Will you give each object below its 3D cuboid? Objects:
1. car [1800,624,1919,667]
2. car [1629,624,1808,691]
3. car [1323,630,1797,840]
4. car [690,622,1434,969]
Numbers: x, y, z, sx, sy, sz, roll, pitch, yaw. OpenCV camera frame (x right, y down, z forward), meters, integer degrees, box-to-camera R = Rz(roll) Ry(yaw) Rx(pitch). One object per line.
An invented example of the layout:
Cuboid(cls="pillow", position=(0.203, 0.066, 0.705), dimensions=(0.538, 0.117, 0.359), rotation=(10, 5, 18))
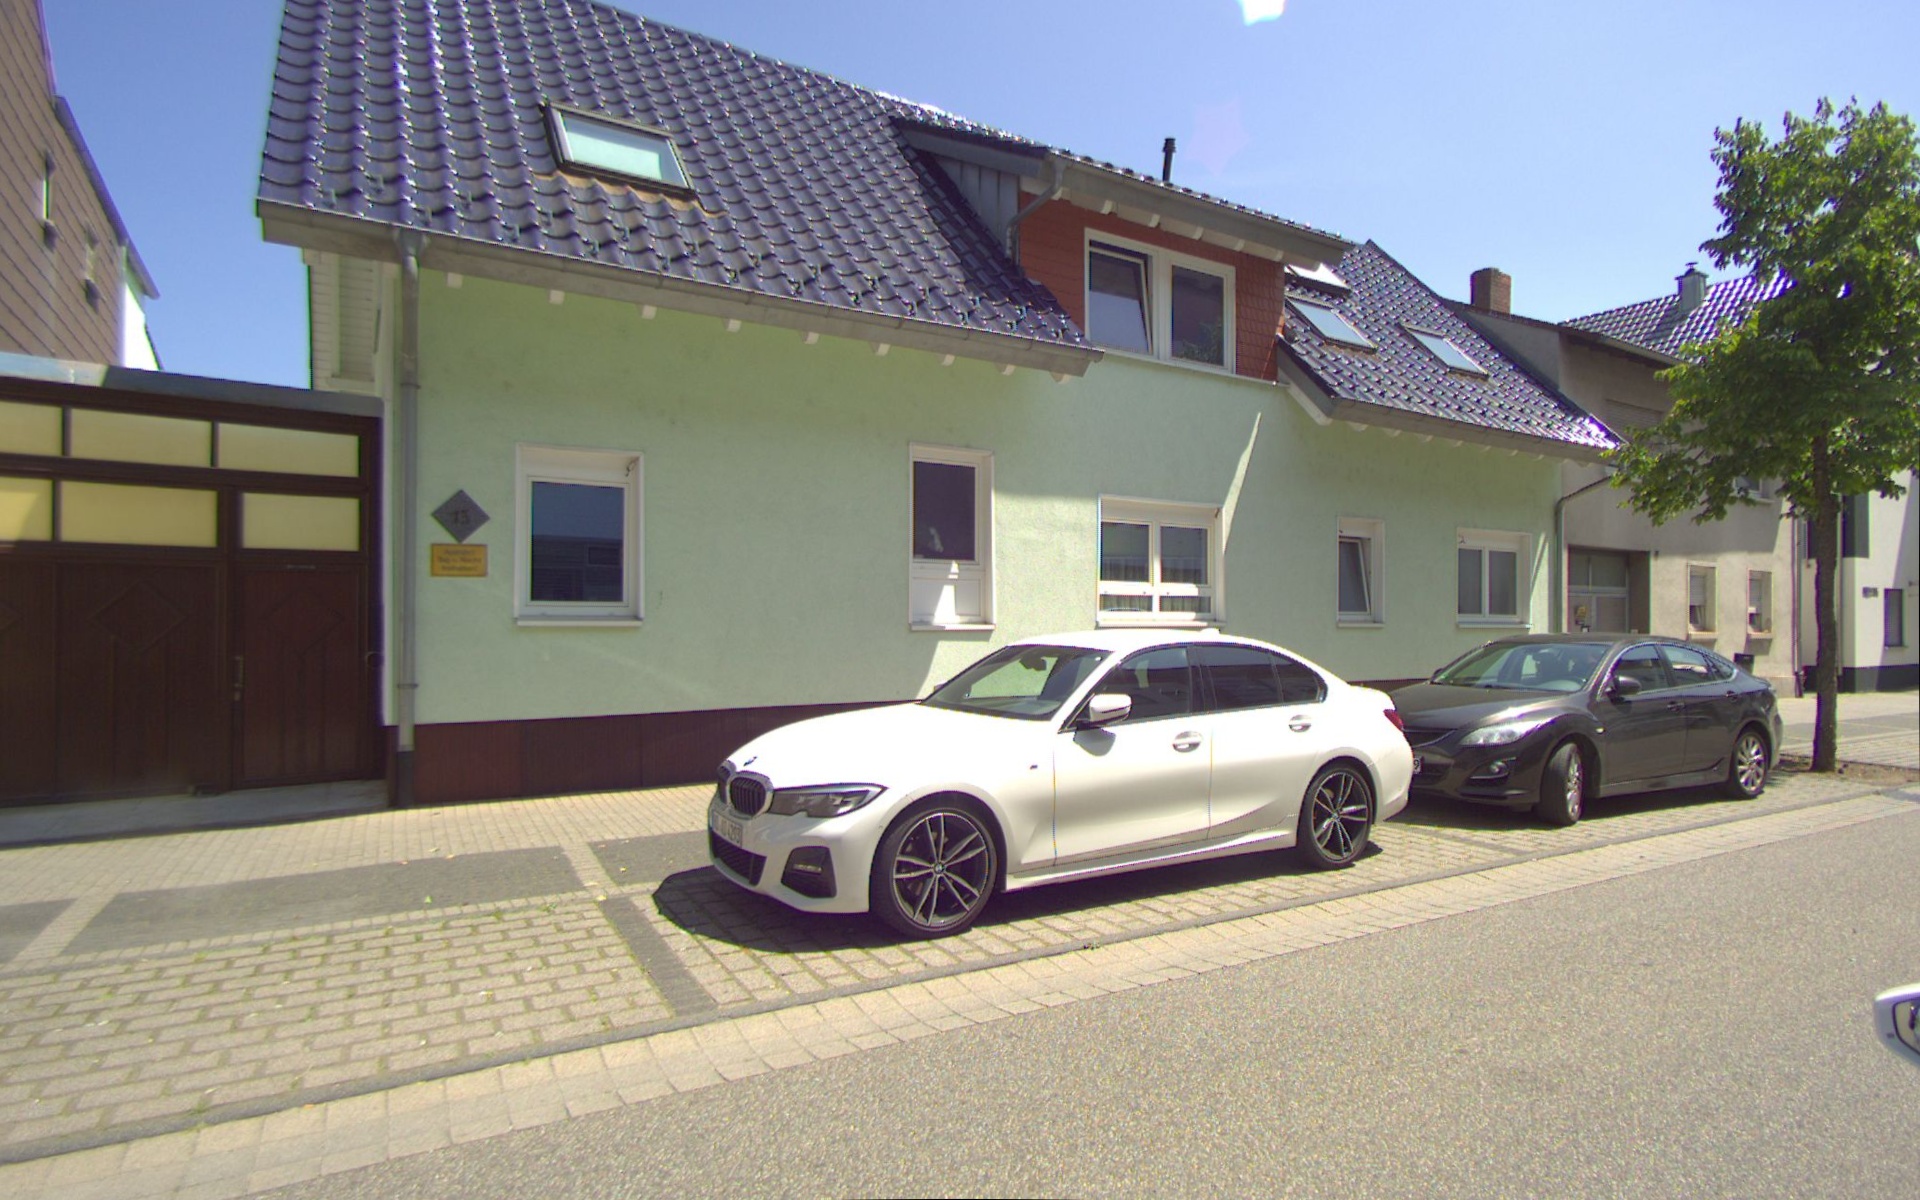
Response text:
Cuboid(cls="car", position=(35.549, 1.767, 39.437), dimensions=(3.874, 1.566, 1.509), rotation=(-1, 0, 44))
Cuboid(cls="car", position=(17.972, 1.320, 23.894), dimensions=(1.571, 1.462, 3.094), rotation=(1, -1, -35))
Cuboid(cls="car", position=(5.426, 1.011, 8.927), dimensions=(4.484, 1.456, 1.653), rotation=(1, -1, -30))
Cuboid(cls="car", position=(0.775, 0.891, 6.168), dimensions=(4.408, 1.456, 1.711), rotation=(1, -1, -31))
